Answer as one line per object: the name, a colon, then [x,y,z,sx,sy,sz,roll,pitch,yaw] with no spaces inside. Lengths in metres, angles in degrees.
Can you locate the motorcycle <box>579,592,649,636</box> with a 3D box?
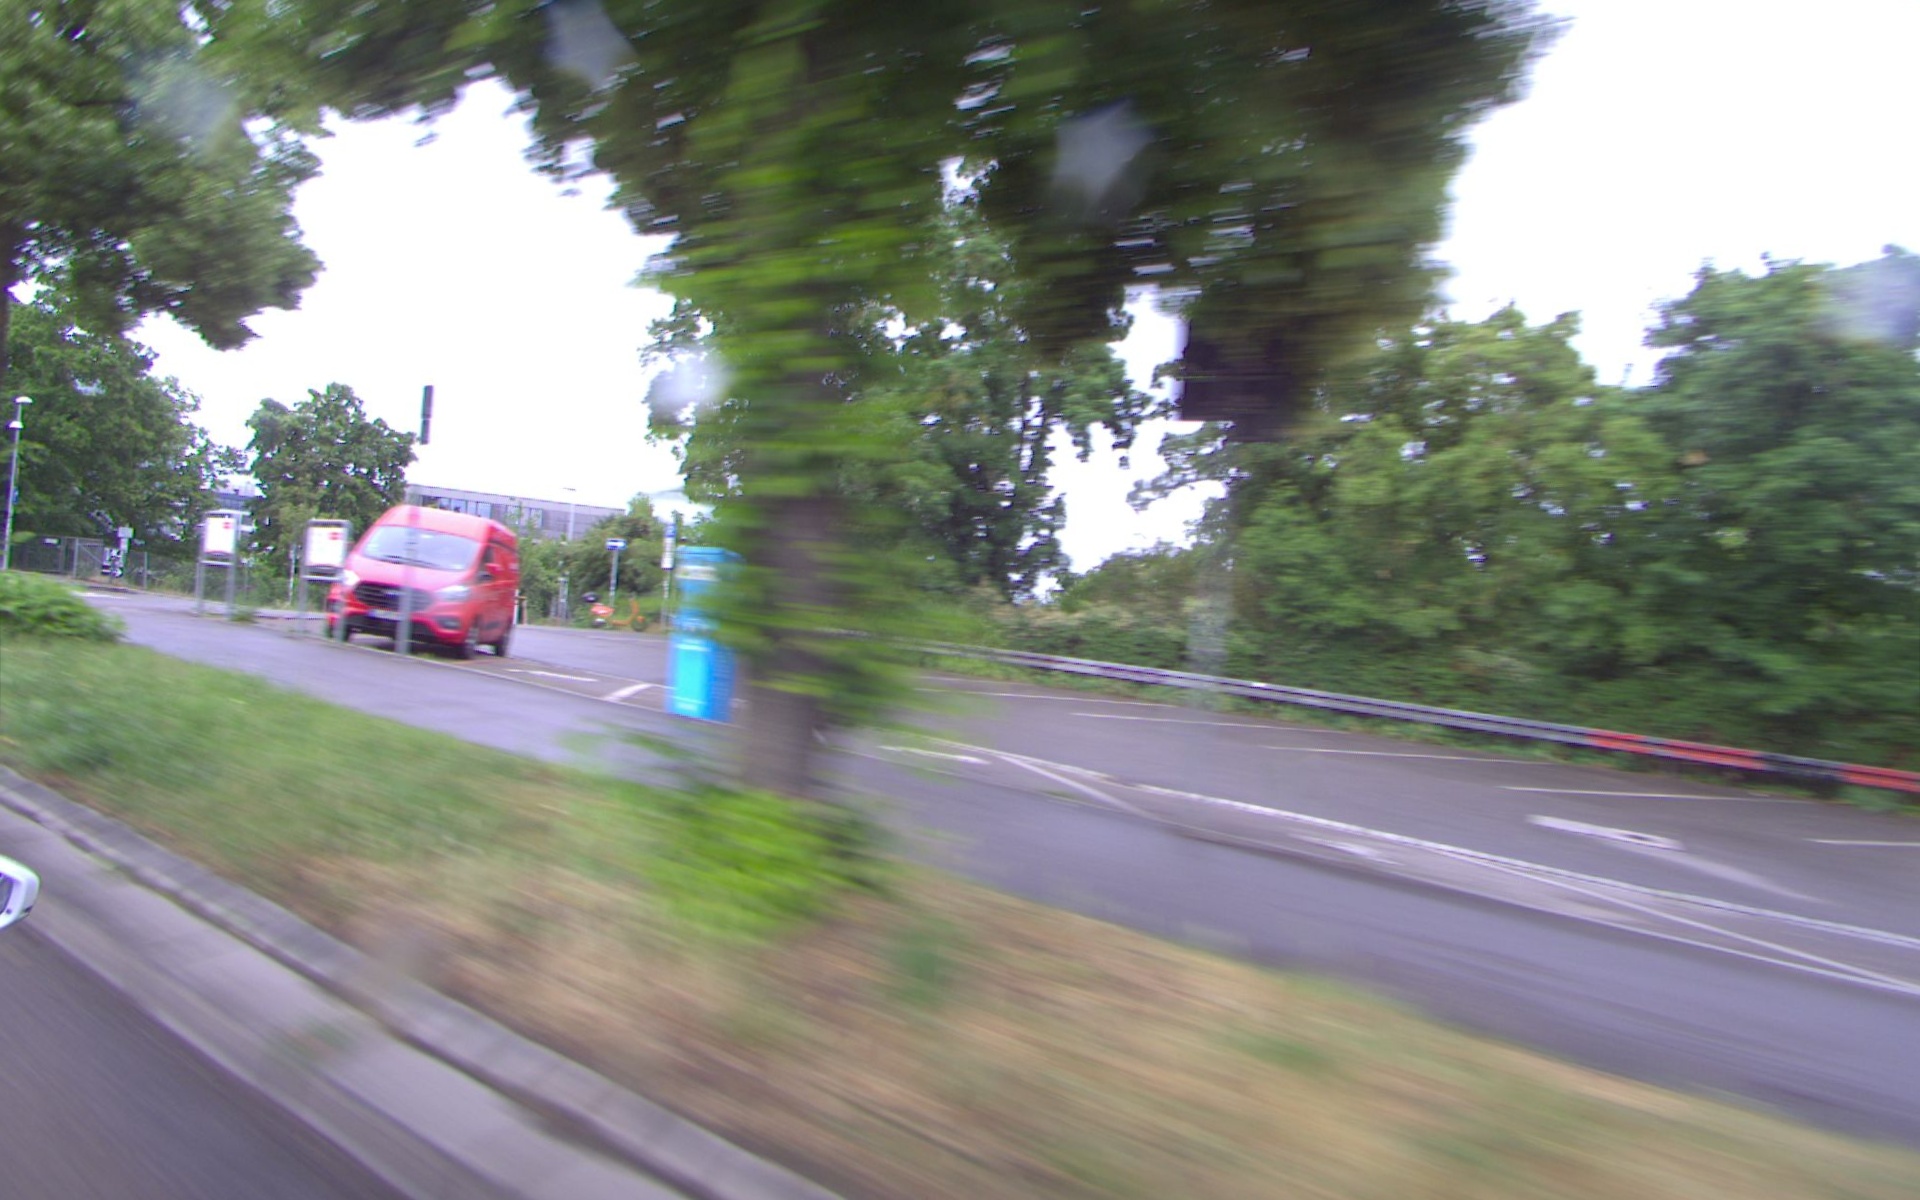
motorcycle: [-10.664,0.434,31.036,1.994,1.226,0.472,3,-5,-20]

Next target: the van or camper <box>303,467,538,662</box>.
van or camper: [-8.679,-0.368,16.824,2.011,2.430,5.382,9,-5,-15]
